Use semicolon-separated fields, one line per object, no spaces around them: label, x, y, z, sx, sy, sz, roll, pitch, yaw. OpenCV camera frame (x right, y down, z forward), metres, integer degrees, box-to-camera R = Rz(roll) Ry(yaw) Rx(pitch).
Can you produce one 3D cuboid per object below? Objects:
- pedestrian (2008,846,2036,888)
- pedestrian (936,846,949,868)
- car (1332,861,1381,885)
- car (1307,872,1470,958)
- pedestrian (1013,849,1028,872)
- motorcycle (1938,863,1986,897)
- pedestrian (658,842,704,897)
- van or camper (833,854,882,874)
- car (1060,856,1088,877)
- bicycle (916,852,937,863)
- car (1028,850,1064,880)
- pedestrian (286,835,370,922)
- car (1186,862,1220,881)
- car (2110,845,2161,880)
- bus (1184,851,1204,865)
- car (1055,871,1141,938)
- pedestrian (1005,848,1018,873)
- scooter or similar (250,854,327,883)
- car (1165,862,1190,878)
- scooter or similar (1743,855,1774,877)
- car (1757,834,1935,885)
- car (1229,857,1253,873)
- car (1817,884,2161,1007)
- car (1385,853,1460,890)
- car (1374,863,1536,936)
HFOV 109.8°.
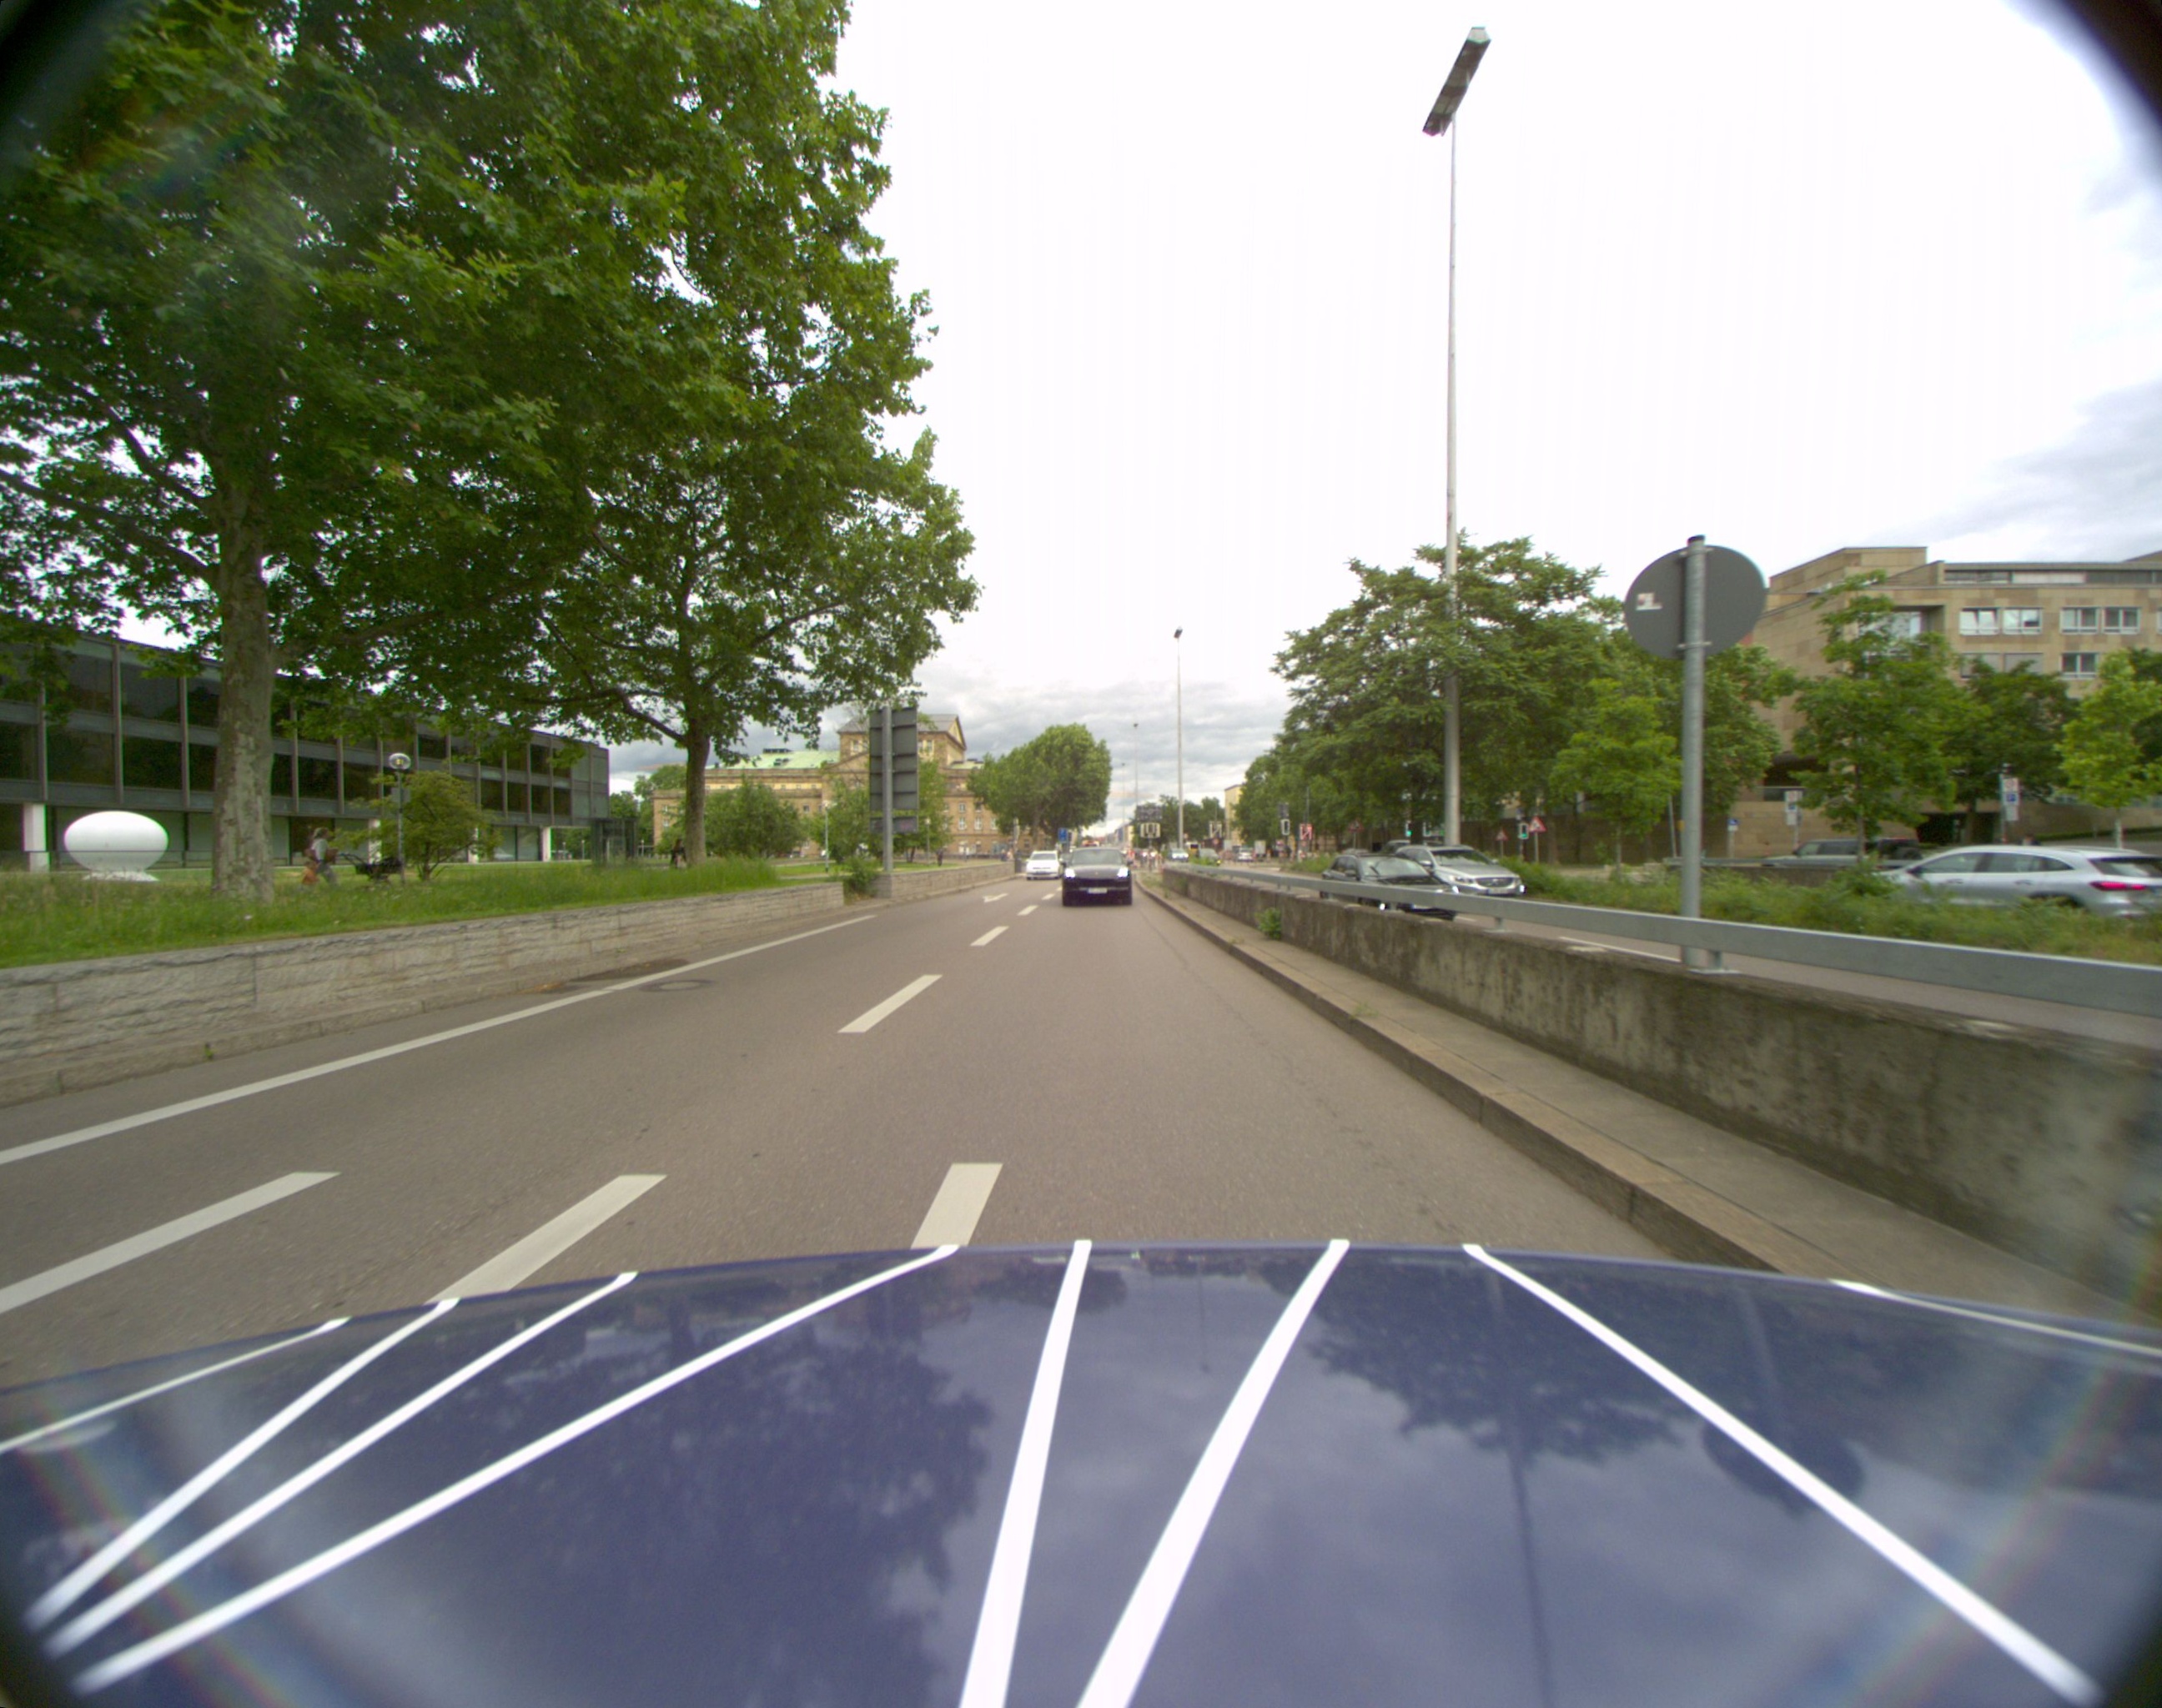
pedestrian;35.255;0.485;28.473;0.884;1.547;0.596;-1;0;-42
pedestrian;-10.203;0.200;56.011;0.803;1.616;0.626;0;0;9
car;19.184;1.277;53.053;1.760;1.453;3.999;-3;0;-3
car;6.672;1.253;17.022;1.768;1.507;4.151;-2;0;-3
pedestrian;-4.143;0.427;52.023;0.683;1.552;0.909;-2;-1;19
motorcycle;34.022;0.997;29.348;1.892;1.227;0.657;0;2;-24
pedestrian;-13.052;0.507;24.833;0.898;1.722;0.969;-3;0;1
van or camper;-29.443;1.323;100.339;5.711;2.306;2.320;-2;1;1
car;-0.653;1.025;63.382;2.062;1.616;4.600;-3;0;-3
bicycle;-17.337;0.394;85.289;2.197;1.135;0.686;0;0;1
car;-1.951;0.575;43.233;1.695;1.584;4.000;-1;0;2
pedestrian;-16.594;0.530;16.752;0.997;1.826;1.031;-3;1;32
car;10.037;1.392;62.934;1.999;1.474;4.809;-1;-1;0
car;45.692;0.275;31.359;3.997;1.269;1.751;-4;1;1
bus;26.563;0.977;179.080;2.920;3.285;10.449;-1;0;0
car;0.352;1.328;21.487;2.062;1.616;4.601;-2;-2;-3
pedestrian;-4.693;0.427;51.245;0.699;1.646;0.684;-3;1;0
scooter or similar;-16.442;0.286;15.790;0.619;0.549;0.897;-3;0;2
car;10.033;1.658;79.102;1.998;1.636;4.000;-2;-1;0
scooter or similar;42.943;0.752;48.163;1.418;1.332;0.538;-1;0;1
car;27.621;0.209;27.680;1.862;1.707;4.390;0;0;-5
car;18.133;1.195;86.362;1.760;1.647;3.999;-3;0;-1
car;16.313;1.464;13.660;1.862;1.707;4.445;0;0;0
car;17.063;0.845;38.165;1.861;1.707;4.446;0;0;2
car;9.702;1.106;20.239;1.998;1.607;4.738;-1;0;0
